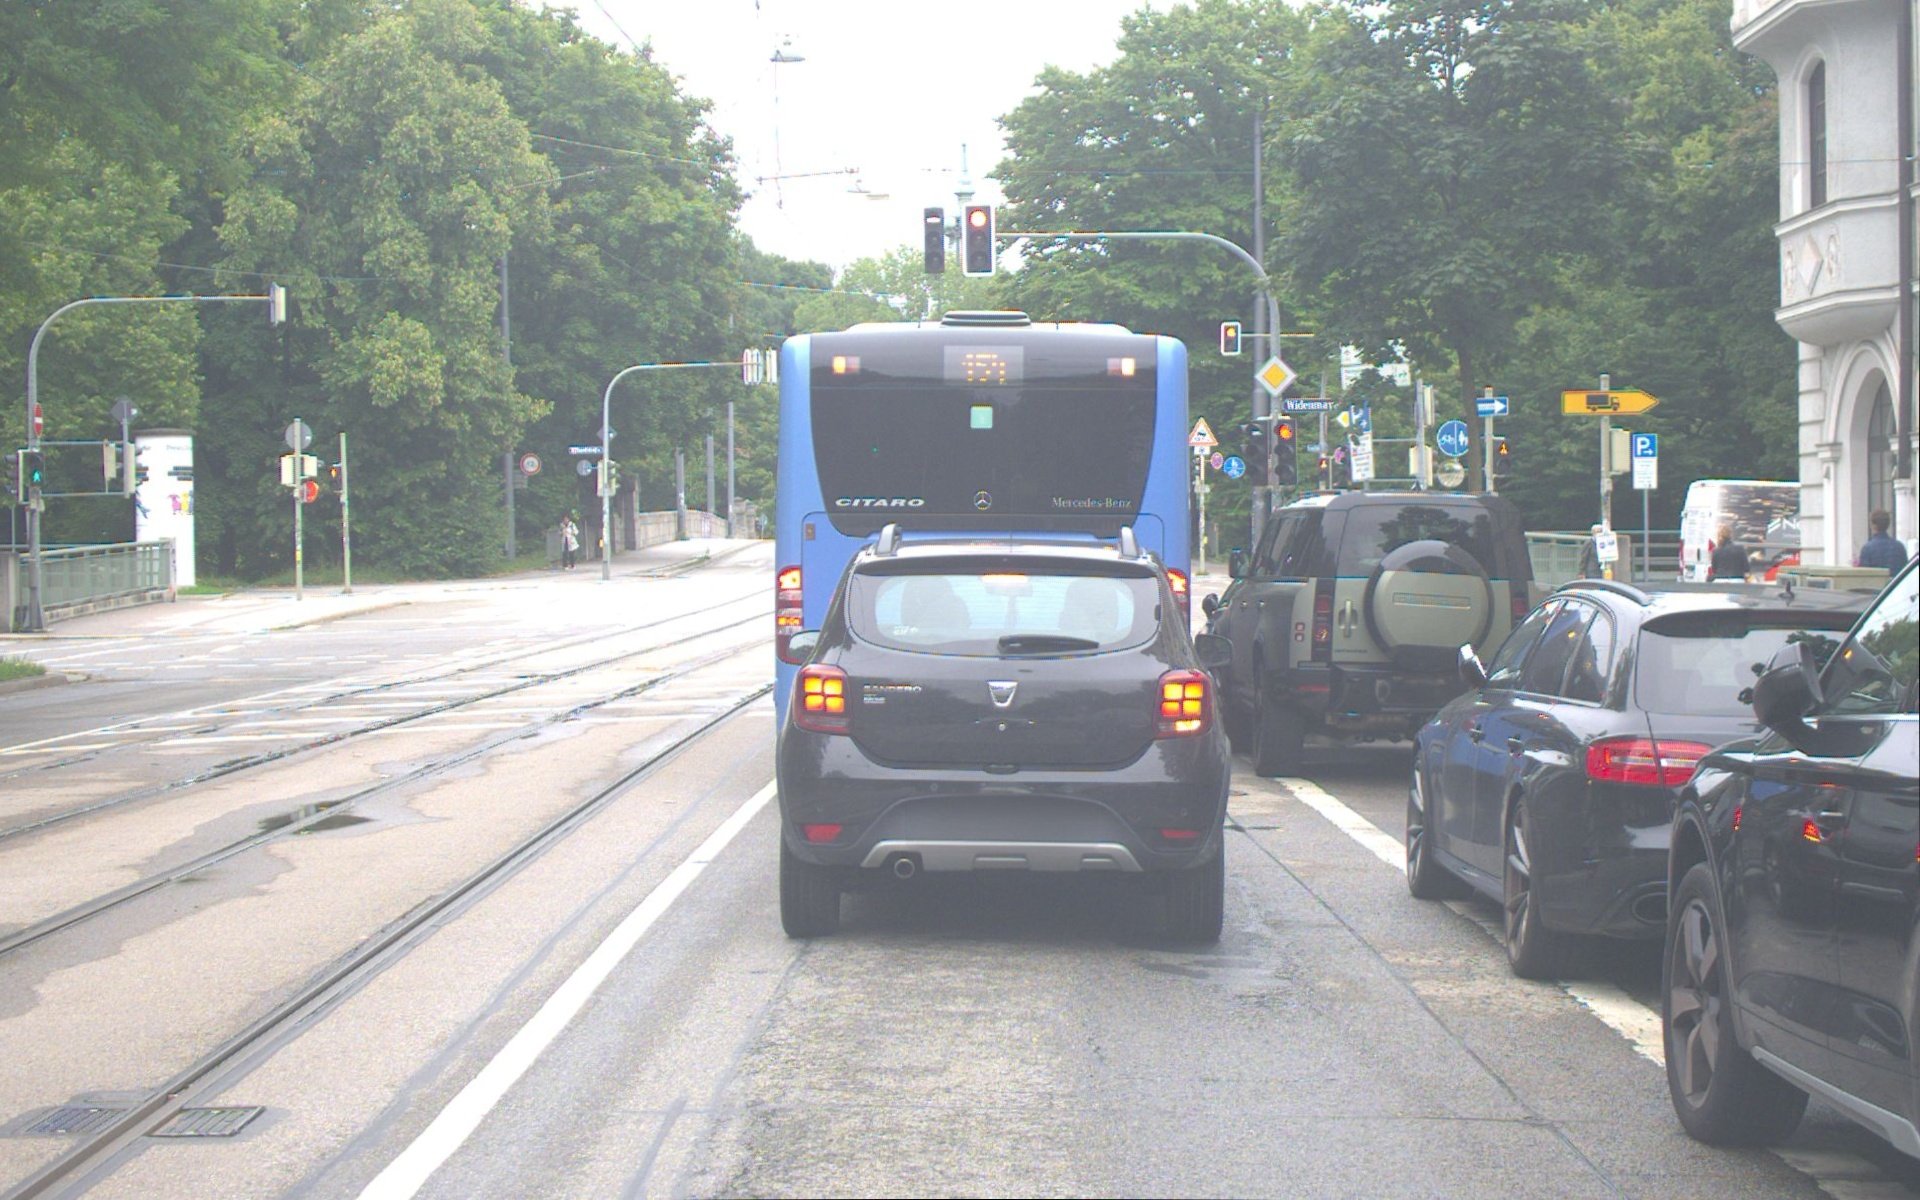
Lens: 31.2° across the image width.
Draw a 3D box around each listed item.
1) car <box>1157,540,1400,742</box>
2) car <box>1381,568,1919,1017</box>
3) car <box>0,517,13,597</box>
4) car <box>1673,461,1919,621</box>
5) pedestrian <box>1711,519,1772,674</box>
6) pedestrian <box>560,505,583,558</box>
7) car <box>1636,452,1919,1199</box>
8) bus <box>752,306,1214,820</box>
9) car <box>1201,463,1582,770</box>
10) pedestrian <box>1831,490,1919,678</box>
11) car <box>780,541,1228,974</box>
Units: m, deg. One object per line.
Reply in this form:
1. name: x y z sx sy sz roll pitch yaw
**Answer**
1. car: 2.677 0.300 29.734 1.714 1.586 4.327 1 1 1
2. car: 2.804 0.610 13.486 1.716 1.421 4.602 1 1 0
3. car: -24.631 -1.052 81.377 4.021 1.880 1.491 1 1 -5
4. car: 15.127 -0.984 58.812 5.295 2.603 2.231 1 1 -2
5. pedestrian: 10.270 -0.047 45.184 0.673 2.007 0.716 1 1 8
6. pedestrian: -11.098 -1.942 98.216 0.532 1.496 0.588 1 1 5
7. car: 2.737 0.545 7.314 1.774 1.652 4.487 1 1 1
8. bus: 0.068 -0.263 23.858 2.678 2.987 6.961 1 1 -1
9. car: 2.898 0.074 24.138 1.914 1.899 4.808 1 1 -2
10. pedestrian: 9.027 -0.161 33.745 0.705 1.810 0.870 1 1 1
11. car: 0.162 0.552 14.309 1.601 1.551 3.525 1 1 0
